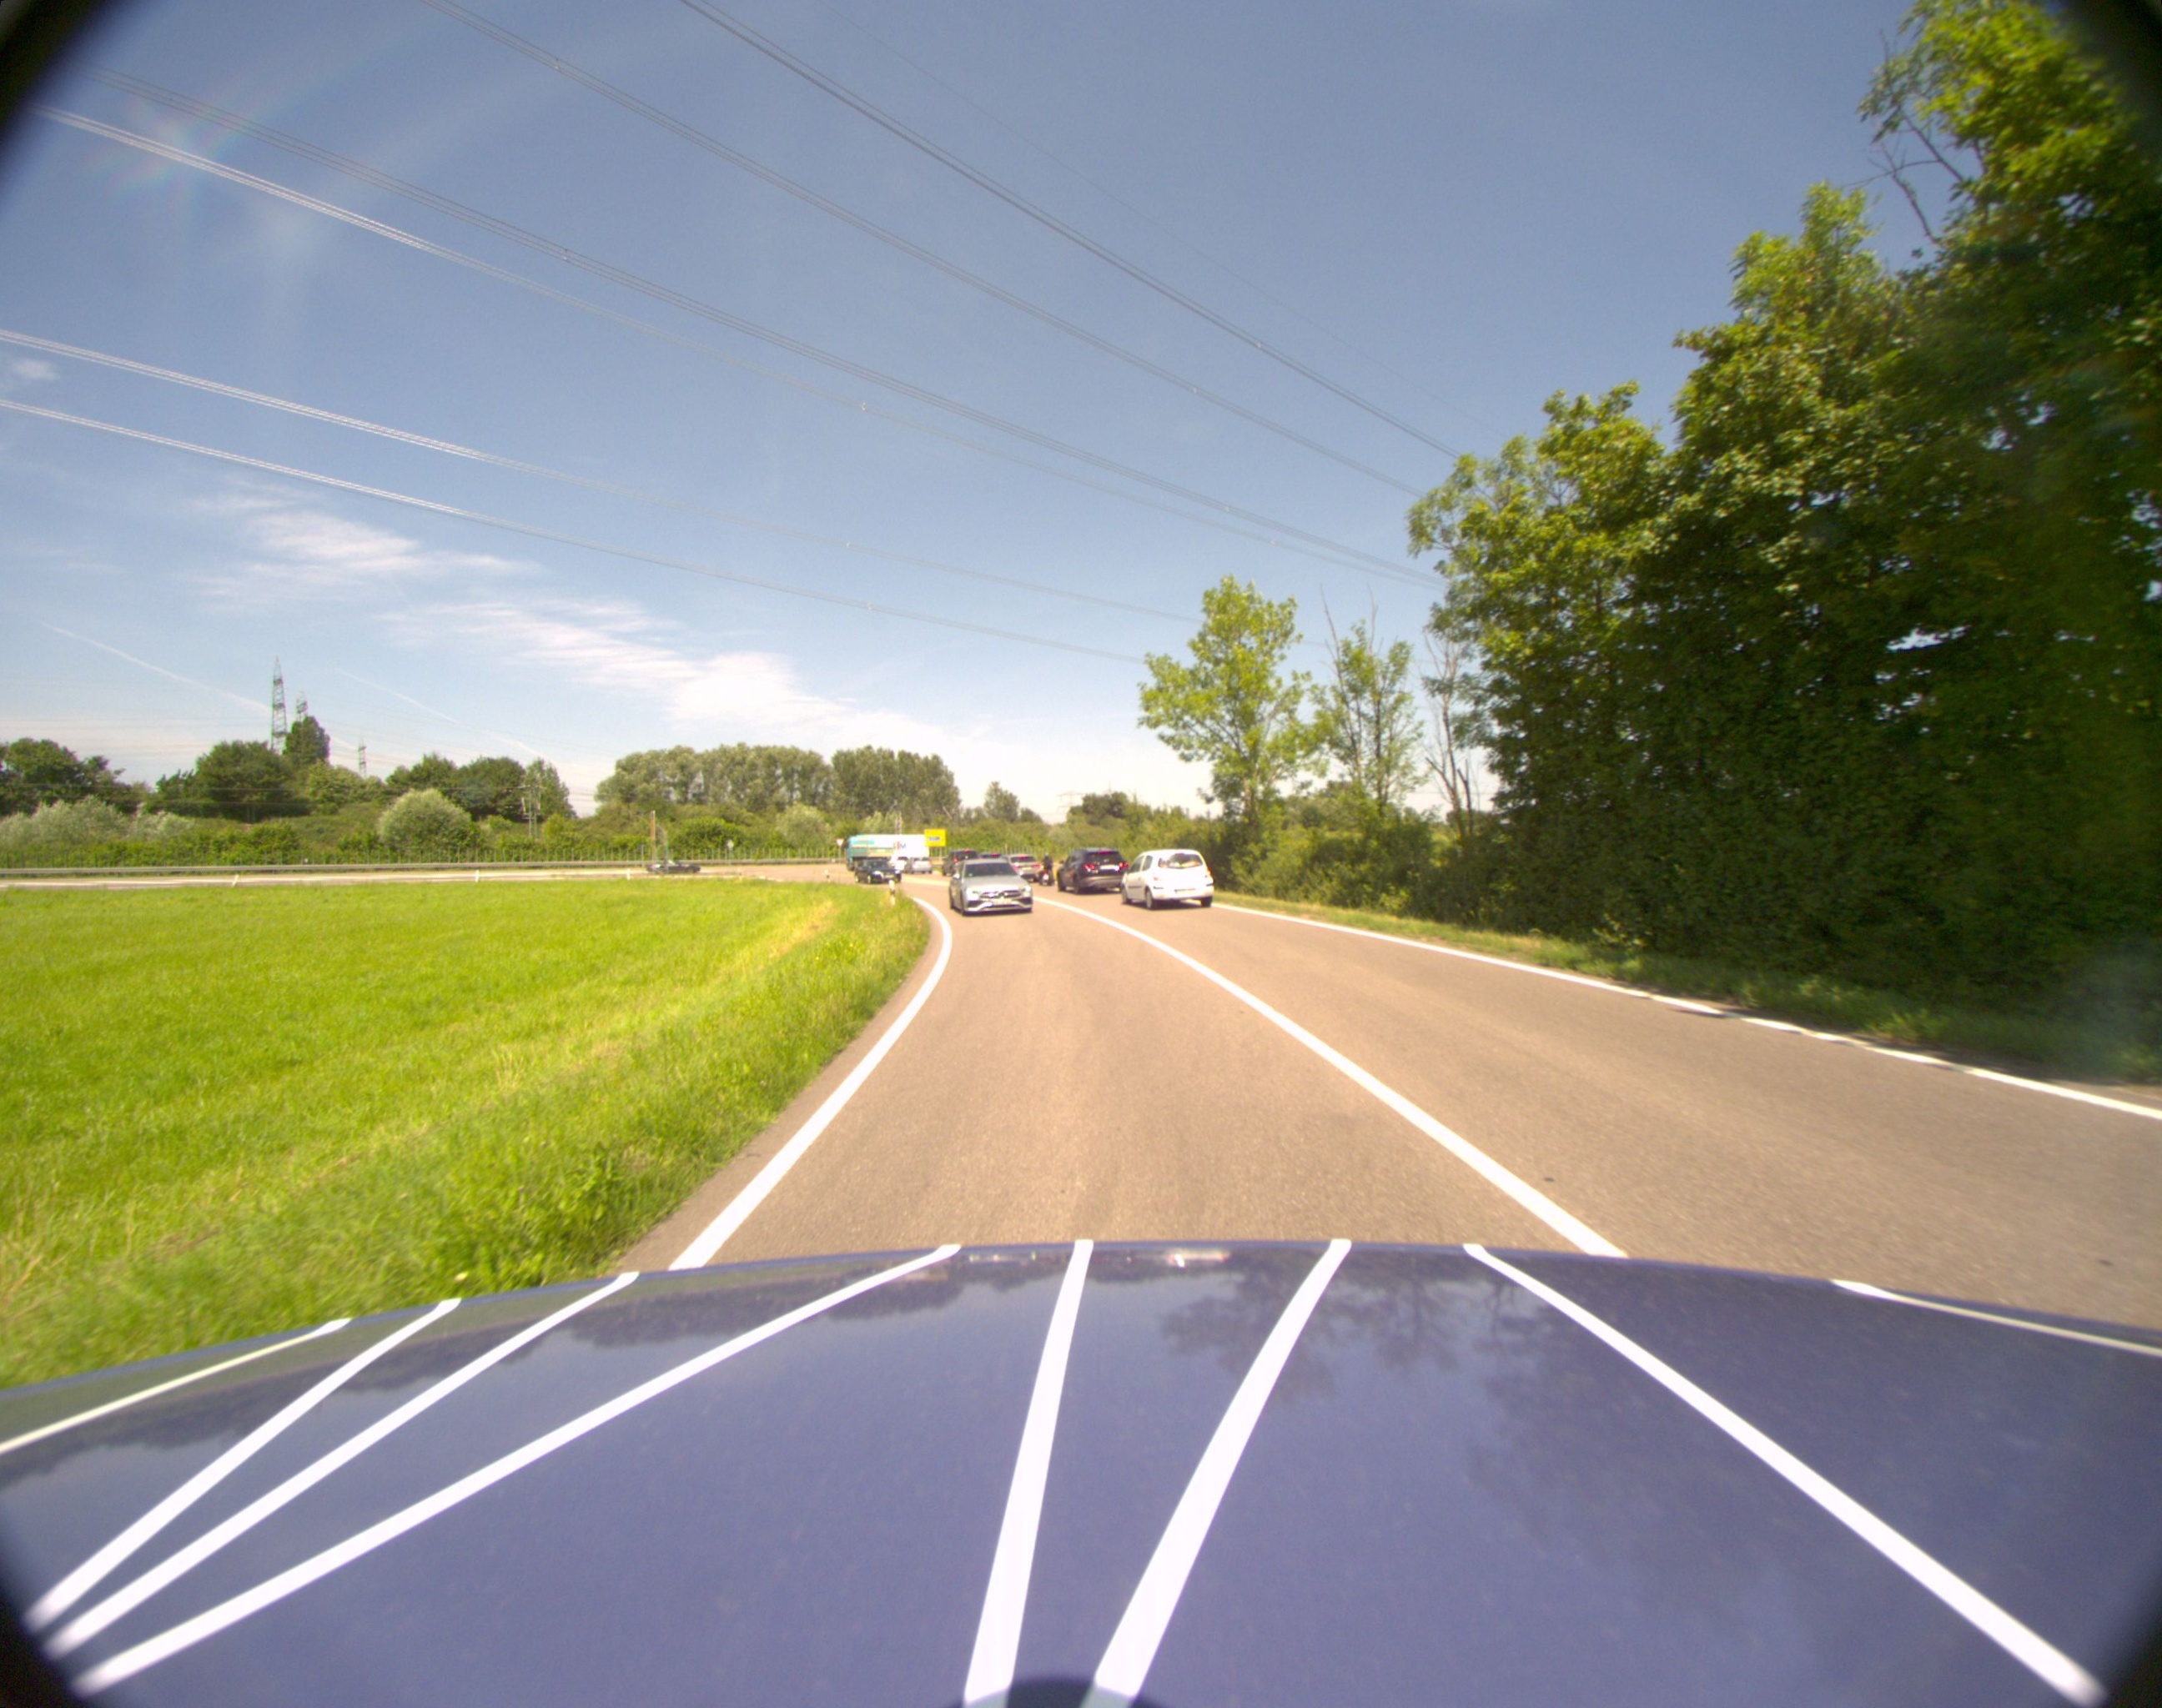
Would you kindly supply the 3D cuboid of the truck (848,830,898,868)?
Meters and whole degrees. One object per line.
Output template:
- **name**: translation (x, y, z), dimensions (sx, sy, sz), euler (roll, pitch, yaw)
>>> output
- **truck**: translation (-20.085, -0.447, 73.029), dimensions (2.615, 3.451, 7.590), euler (-1, 1, -32)

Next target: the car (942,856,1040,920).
- **car**: translation (-2.590, 0.840, 21.012), dimensions (1.827, 1.478, 4.141), euler (-1, 1, -19)

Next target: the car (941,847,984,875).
- **car**: translation (-8.121, 0.429, 51.779), dimensions (1.934, 1.822, 4.429), euler (-1, 1, -22)

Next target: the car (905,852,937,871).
- **car**: translation (-12.938, 0.624, 61.299), dimensions (1.639, 1.451, 4.000), euler (-1, 0, -24)

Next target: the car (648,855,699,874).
- **car**: translation (-37.868, 0.966, 70.645), dimensions (4.007, 1.714, 1.720), euler (-1, 1, -35)

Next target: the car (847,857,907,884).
- **car**: translation (-11.941, 0.941, 44.311), dimensions (1.829, 1.431, 4.137), euler (-2, 1, -39)

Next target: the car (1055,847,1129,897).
- **car**: translation (0.311, 0.600, 27.817), dimensions (1.708, 1.628, 4.244), euler (-3, 1, -13)

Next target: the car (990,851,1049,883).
- **car**: translation (-3.268, 0.635, 39.469), dimensions (1.849, 1.452, 4.800), euler (-2, 2, -20)

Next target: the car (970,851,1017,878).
- **car**: translation (-5.274, 0.587, 45.306), dimensions (1.806, 1.507, 4.383), euler (-1, 1, -20)

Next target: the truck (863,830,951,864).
- **truck**: translation (-20.185, -0.825, 88.448), dimensions (9.571, 3.559, 2.718), euler (-3, 2, -37)

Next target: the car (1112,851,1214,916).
- **car**: translation (2.077, 0.699, 20.244), dimensions (1.542, 1.435, 3.602), euler (-4, 2, -13)

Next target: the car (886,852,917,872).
- **car**: translation (-15.782, 0.708, 66.704), dimensions (1.780, 1.611, 4.321), euler (-3, 1, -24)

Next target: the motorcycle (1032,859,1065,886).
- **motorcycle**: translation (-1.496, 0.829, 34.853), dimensions (0.785, 1.117, 2.425), euler (-3, 2, -20)

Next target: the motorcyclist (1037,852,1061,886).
- **motorcyclist**: translation (-1.456, 0.662, 34.778), dimensions (0.784, 1.487, 1.128), euler (-2, 2, -20)
